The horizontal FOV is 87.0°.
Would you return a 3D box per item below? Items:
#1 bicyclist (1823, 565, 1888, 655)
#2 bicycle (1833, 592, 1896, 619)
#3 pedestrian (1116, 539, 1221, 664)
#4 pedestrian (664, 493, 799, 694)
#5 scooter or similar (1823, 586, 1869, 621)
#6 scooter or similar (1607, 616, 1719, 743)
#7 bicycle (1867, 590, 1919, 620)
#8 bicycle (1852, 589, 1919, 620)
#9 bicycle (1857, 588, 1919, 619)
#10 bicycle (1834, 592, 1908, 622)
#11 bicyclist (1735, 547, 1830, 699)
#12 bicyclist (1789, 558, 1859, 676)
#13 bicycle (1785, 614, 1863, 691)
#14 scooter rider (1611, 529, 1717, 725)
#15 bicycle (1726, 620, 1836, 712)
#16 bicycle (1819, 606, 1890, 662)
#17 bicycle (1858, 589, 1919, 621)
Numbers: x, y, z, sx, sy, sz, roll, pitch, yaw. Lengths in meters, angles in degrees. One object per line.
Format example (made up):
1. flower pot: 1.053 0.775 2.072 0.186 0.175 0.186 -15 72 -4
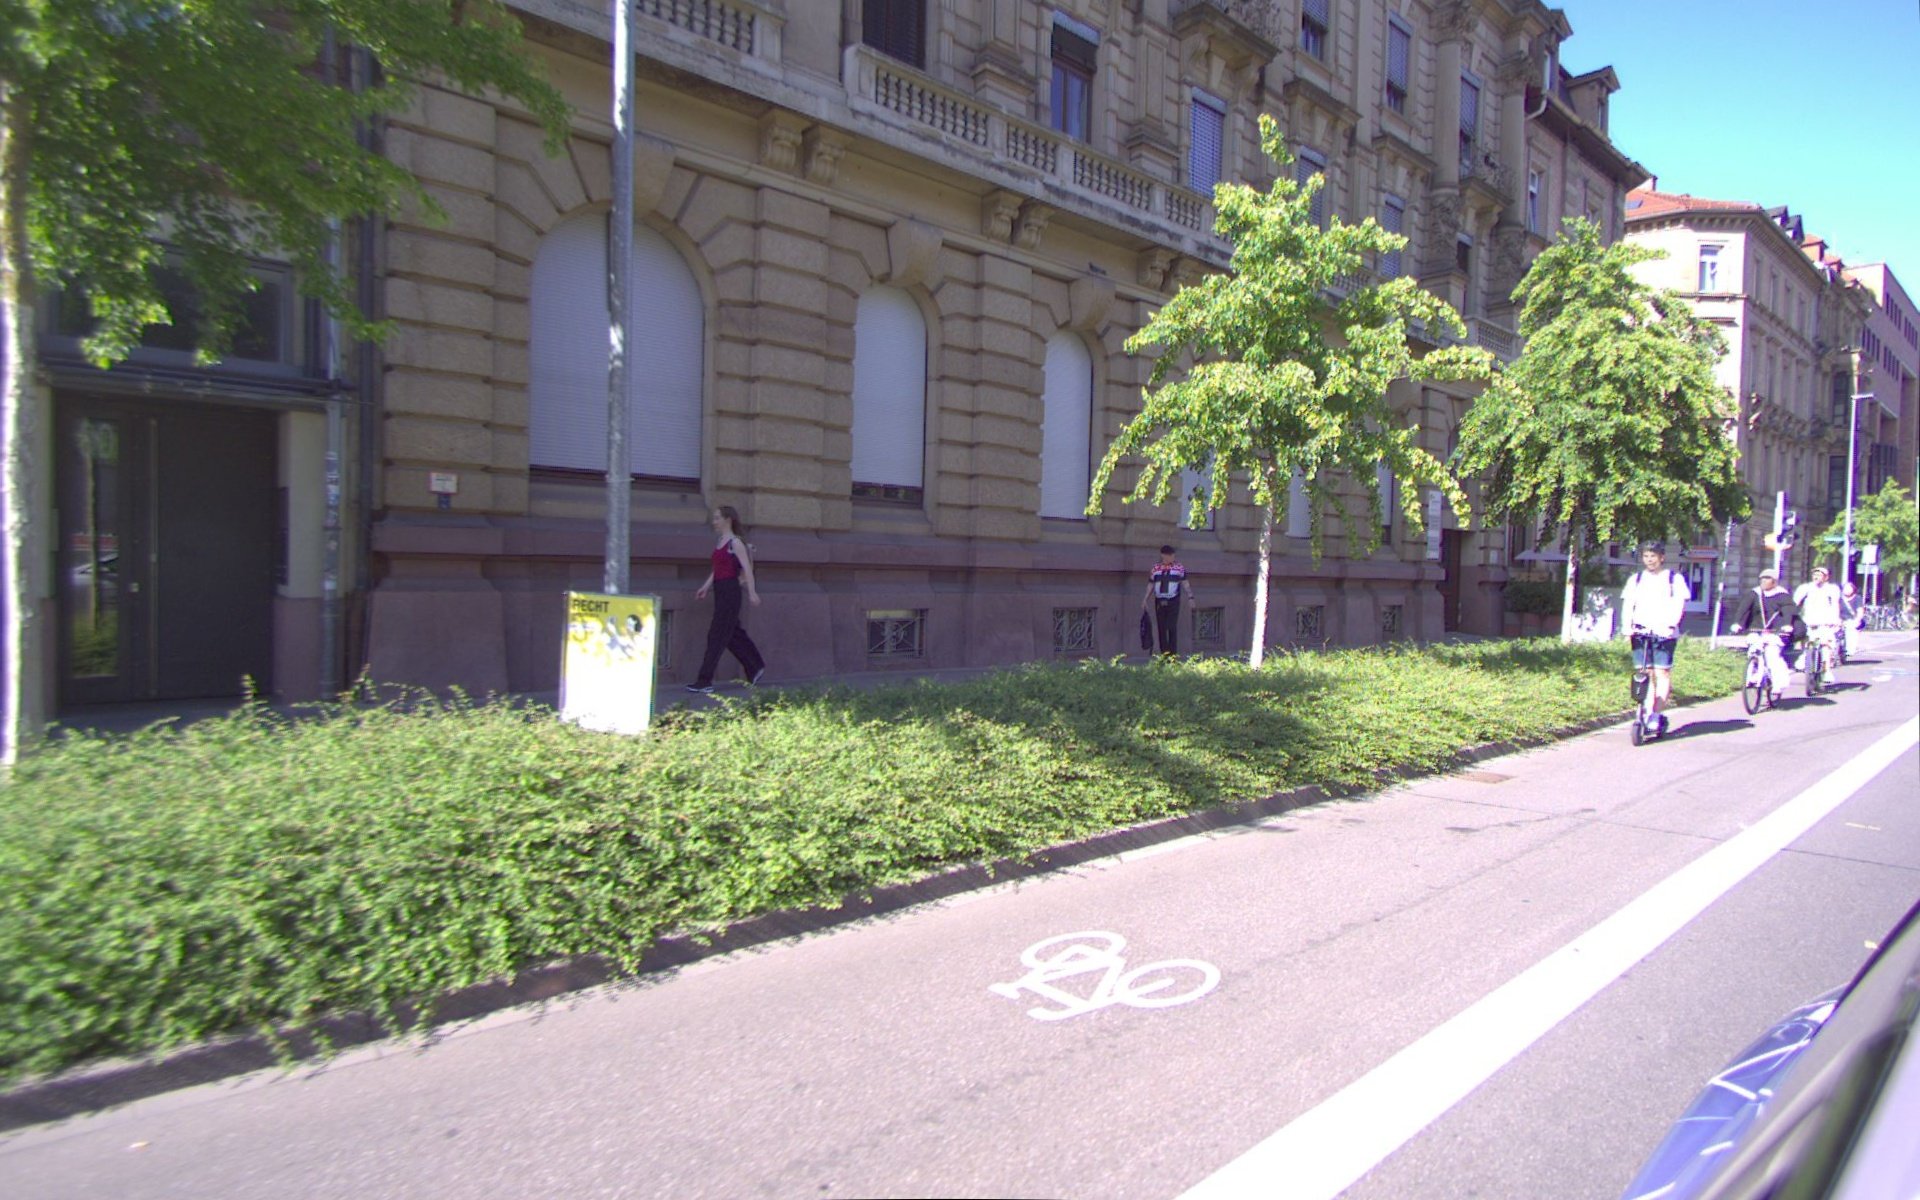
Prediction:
1. bicyclist: 17.946 0.189 20.277 0.971 1.748 0.853 0 1 -41
2. bicycle: 34.019 0.187 38.076 0.489 0.936 1.717 -1 3 -40
3. pedestrian: 3.034 -0.003 14.761 1.094 1.712 0.972 -1 4 -39
4. pedestrian: -2.371 -0.093 10.466 1.077 1.943 0.893 0 4 -35
5. scooter or similar: 32.277 0.125 36.865 0.480 1.212 1.197 0 2 -45
6. scooter or similar: 7.163 0.769 10.299 1.130 1.172 0.647 0 1 -39
7. bicycle: 38.529 0.199 41.331 0.833 1.054 2.062 -1 6 -41
8. bicycle: 36.480 0.165 39.874 1.013 1.042 1.901 -1 5 -43
9. bicycle: 37.293 0.126 40.656 1.115 1.074 1.677 -1 7 -42
10. bicycle: 33.717 0.245 37.472 0.580 0.922 1.911 -1 5 -32
11. bicyclist: 10.439 0.271 12.843 1.071 1.840 0.725 0 1 -39
12. bicyclist: 12.810 0.236 15.001 0.961 1.677 0.699 0 1 -44
13. bicycle: 12.878 0.741 15.064 1.920 1.019 0.724 -1 1 -44
14. scooter rider: 7.152 0.249 10.278 0.882 1.890 0.662 0 1 -40
15. bicycle: 10.437 0.797 12.846 1.917 1.019 0.725 0 1 -40
16. bicycle: 17.938 0.653 20.276 1.918 1.019 0.829 -1 1 -41
17. bicycle: 35.592 0.179 38.625 0.599 1.061 1.873 -1 5 -45
